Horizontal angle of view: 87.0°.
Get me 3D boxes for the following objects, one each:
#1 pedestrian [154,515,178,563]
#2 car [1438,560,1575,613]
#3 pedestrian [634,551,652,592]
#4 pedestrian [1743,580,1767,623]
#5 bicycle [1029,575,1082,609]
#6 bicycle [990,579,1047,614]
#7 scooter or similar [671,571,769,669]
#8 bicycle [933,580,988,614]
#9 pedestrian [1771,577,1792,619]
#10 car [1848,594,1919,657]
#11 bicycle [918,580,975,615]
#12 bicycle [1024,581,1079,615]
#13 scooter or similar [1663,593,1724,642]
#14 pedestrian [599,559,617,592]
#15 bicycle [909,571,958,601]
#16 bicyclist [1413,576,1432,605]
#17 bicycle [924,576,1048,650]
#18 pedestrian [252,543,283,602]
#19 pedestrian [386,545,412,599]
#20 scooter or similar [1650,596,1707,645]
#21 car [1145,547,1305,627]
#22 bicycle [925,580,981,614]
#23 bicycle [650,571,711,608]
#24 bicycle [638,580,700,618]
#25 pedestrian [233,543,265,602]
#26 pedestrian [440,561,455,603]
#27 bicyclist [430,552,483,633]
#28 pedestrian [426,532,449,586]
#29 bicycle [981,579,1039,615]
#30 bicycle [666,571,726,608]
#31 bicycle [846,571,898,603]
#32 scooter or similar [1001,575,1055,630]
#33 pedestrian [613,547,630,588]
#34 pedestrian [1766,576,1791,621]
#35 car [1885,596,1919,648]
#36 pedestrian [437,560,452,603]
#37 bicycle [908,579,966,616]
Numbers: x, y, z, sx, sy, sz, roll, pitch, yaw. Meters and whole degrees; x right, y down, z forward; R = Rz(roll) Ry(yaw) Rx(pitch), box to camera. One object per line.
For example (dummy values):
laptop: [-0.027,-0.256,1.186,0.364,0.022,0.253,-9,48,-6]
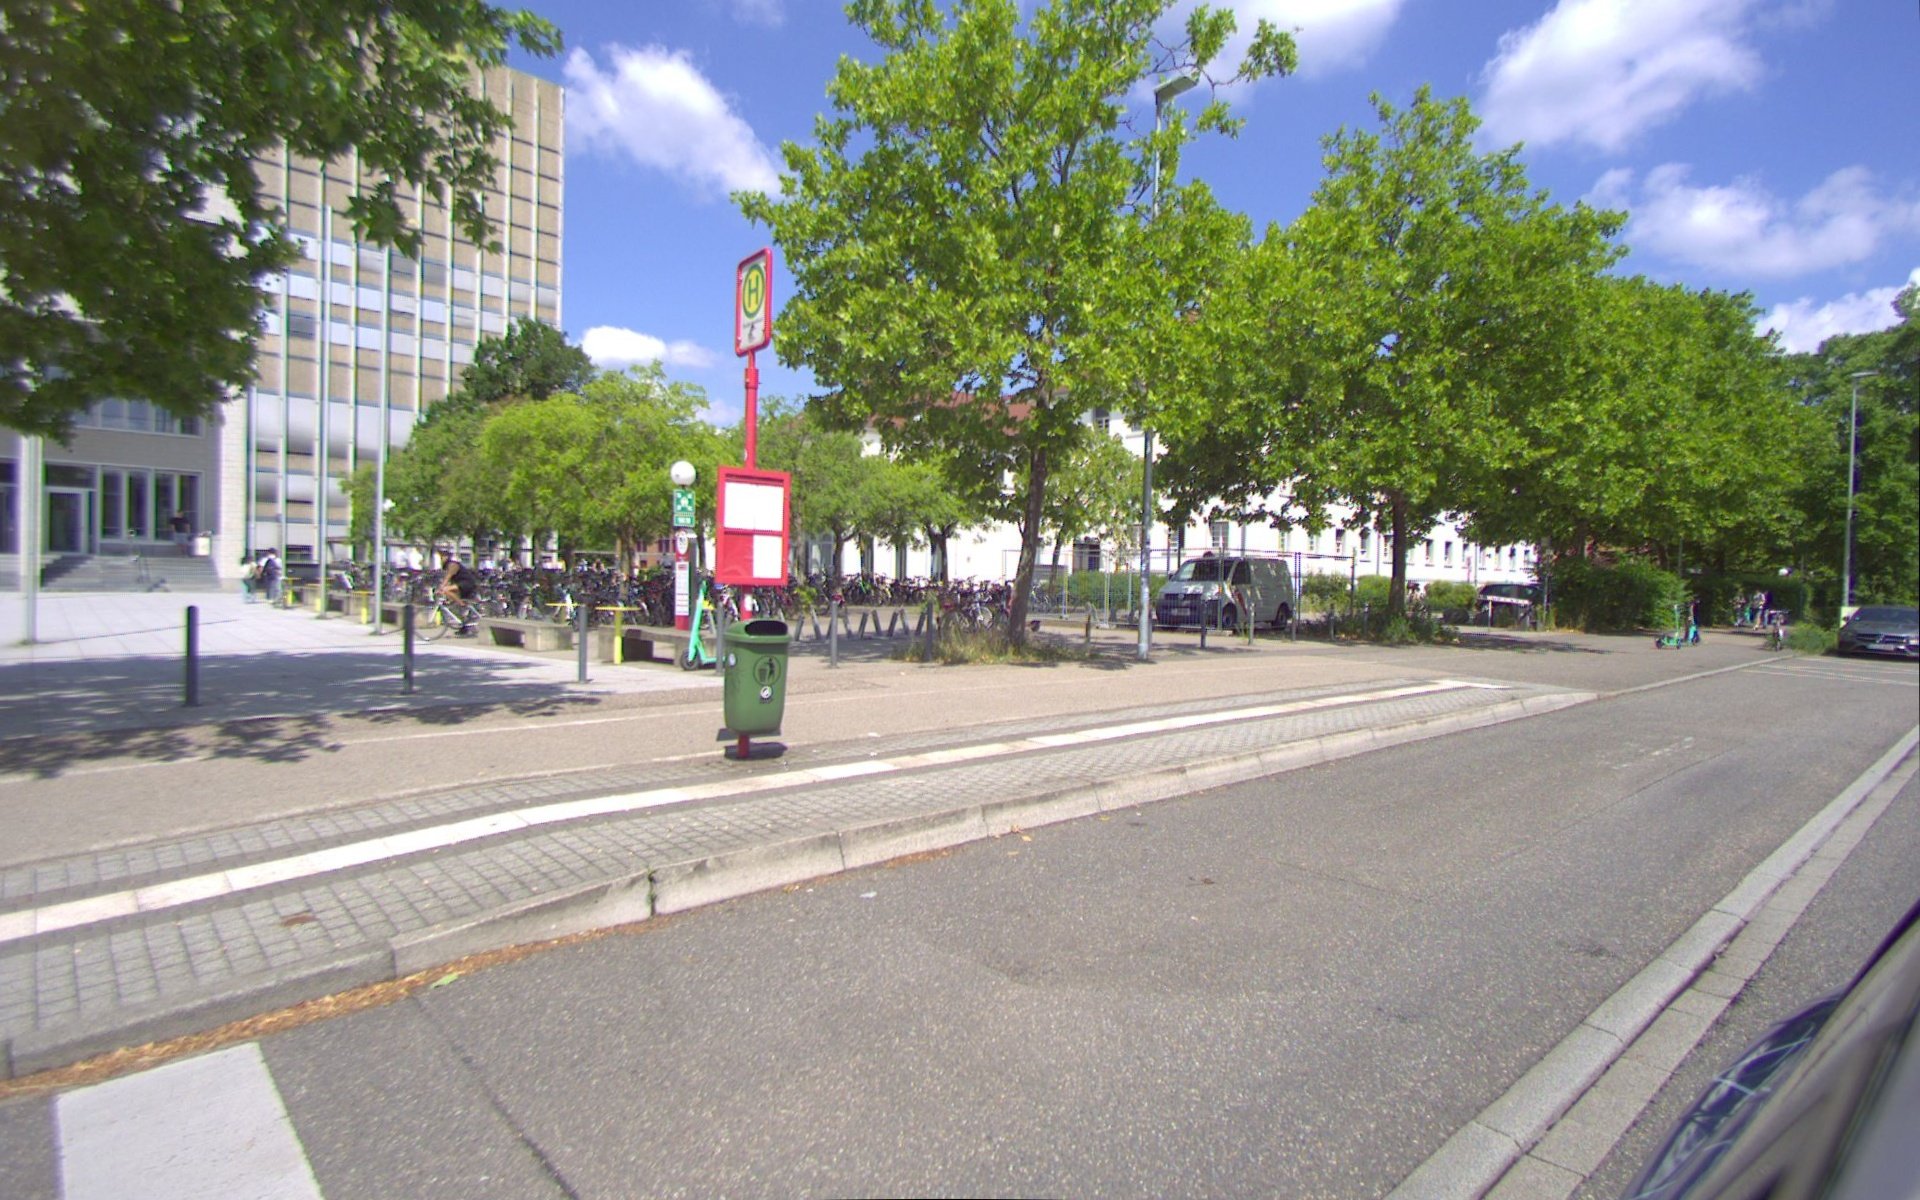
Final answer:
pedestrian: [-30.911,-2.378,39.409,0.707,1.820,0.715,0,0,-40]
car: [19.851,-0.459,36.850,3.988,1.805,1.968,0,0,45]
pedestrian: [-17.488,-1.578,55.856,0.625,2.257,0.713,-1,0,17]
pedestrian: [33.235,0.064,42.310,0.679,1.803,0.782,-1,0,32]
bicycle: [3.289,-0.272,34.967,1.743,1.113,0.601,-1,0,17]
bicycle: [1.899,-0.107,32.896,1.743,1.113,0.601,-1,0,17]
scooter or similar: [-3.022,0.236,12.795,1.172,1.180,0.353,0,0,-43]
bicycle: [0.028,-0.092,34.114,1.743,1.113,0.601,-1,0,17]
pedestrian: [35.586,-0.089,43.827,0.681,1.803,0.780,-1,0,40]
car: [25.554,0.680,27.304,4.858,1.497,1.859,1,2,-43]
bicycle: [-0.441,-0.082,32.771,1.743,1.113,0.601,-1,0,17]
bicycle: [3.057,-0.053,33.686,1.743,1.113,0.601,-1,0,17]
scooter or similar: [19.798,0.469,27.319,1.263,1.262,0.531,2,1,-8]
pedestrian: [-19.445,-1.354,55.870,0.625,1.800,0.713,-1,0,17]
bicycle: [-0.989,-0.530,38.174,1.743,1.113,0.601,-1,0,17]
bicyclist: [22.212,-0.449,48.618,0.606,1.336,0.731,3,3,44]
bicycle: [0.450,0.199,17.144,1.991,1.198,0.800,0,0,-32]
pedestrian: [-21.124,-0.838,30.875,0.621,1.769,0.718,0,0,-20]
pedestrian: [-23.775,-1.170,42.897,0.706,2.257,0.631,-1,0,17]
scooter or similar: [18.182,0.513,25.609,1.543,1.183,0.531,1,2,-30]
car: [6.984,-0.345,26.355,1.898,1.888,4.863,1,1,44]
bicycle: [-0.223,-0.101,33.455,1.743,1.113,0.601,-1,0,17]
bicycle: [-8.527,-0.320,30.924,1.743,1.113,0.601,-1,0,17]
bicycle: [-8.697,-0.038,30.291,1.743,1.113,0.601,-1,0,17]
pedestrian: [-21.499,-0.833,30.613,0.621,1.769,0.718,0,0,-20]
pedestrian: [-28.375,-0.991,56.023,0.701,2.257,0.635,0,0,-25]
bicyclist: [-10.098,-0.155,20.279,0.914,1.583,0.664,0,1,-29]
pedestrian: [-22.145,-1.713,42.916,0.624,2.257,0.852,0,-1,-45]
bicycle: [1.570,-0.100,31.905,1.743,1.113,0.601,-1,0,17]
bicycle: [-8.240,-0.324,31.580,1.743,1.113,0.601,-1,0,17]
bicycle: [-3.117,-0.448,35.934,1.743,1.113,0.601,-1,0,17]
scooter or similar: [1.575,0.048,23.643,1.289,1.248,0.277,1,2,34]
pedestrian: [-18.721,-1.772,55.968,0.625,2.257,0.713,-1,0,17]
pedestrian: [33.761,-0.062,41.763,0.678,1.803,0.782,-1,0,31]
car: [29.682,0.688,30.459,4.848,1.468,1.744,1,2,-36]
pedestrian: [-27.600,-0.992,54.209,0.701,2.257,0.635,0,0,-25]
bicycle: [-0.730,-0.077,31.970,1.743,1.113,0.601,-1,0,17]
